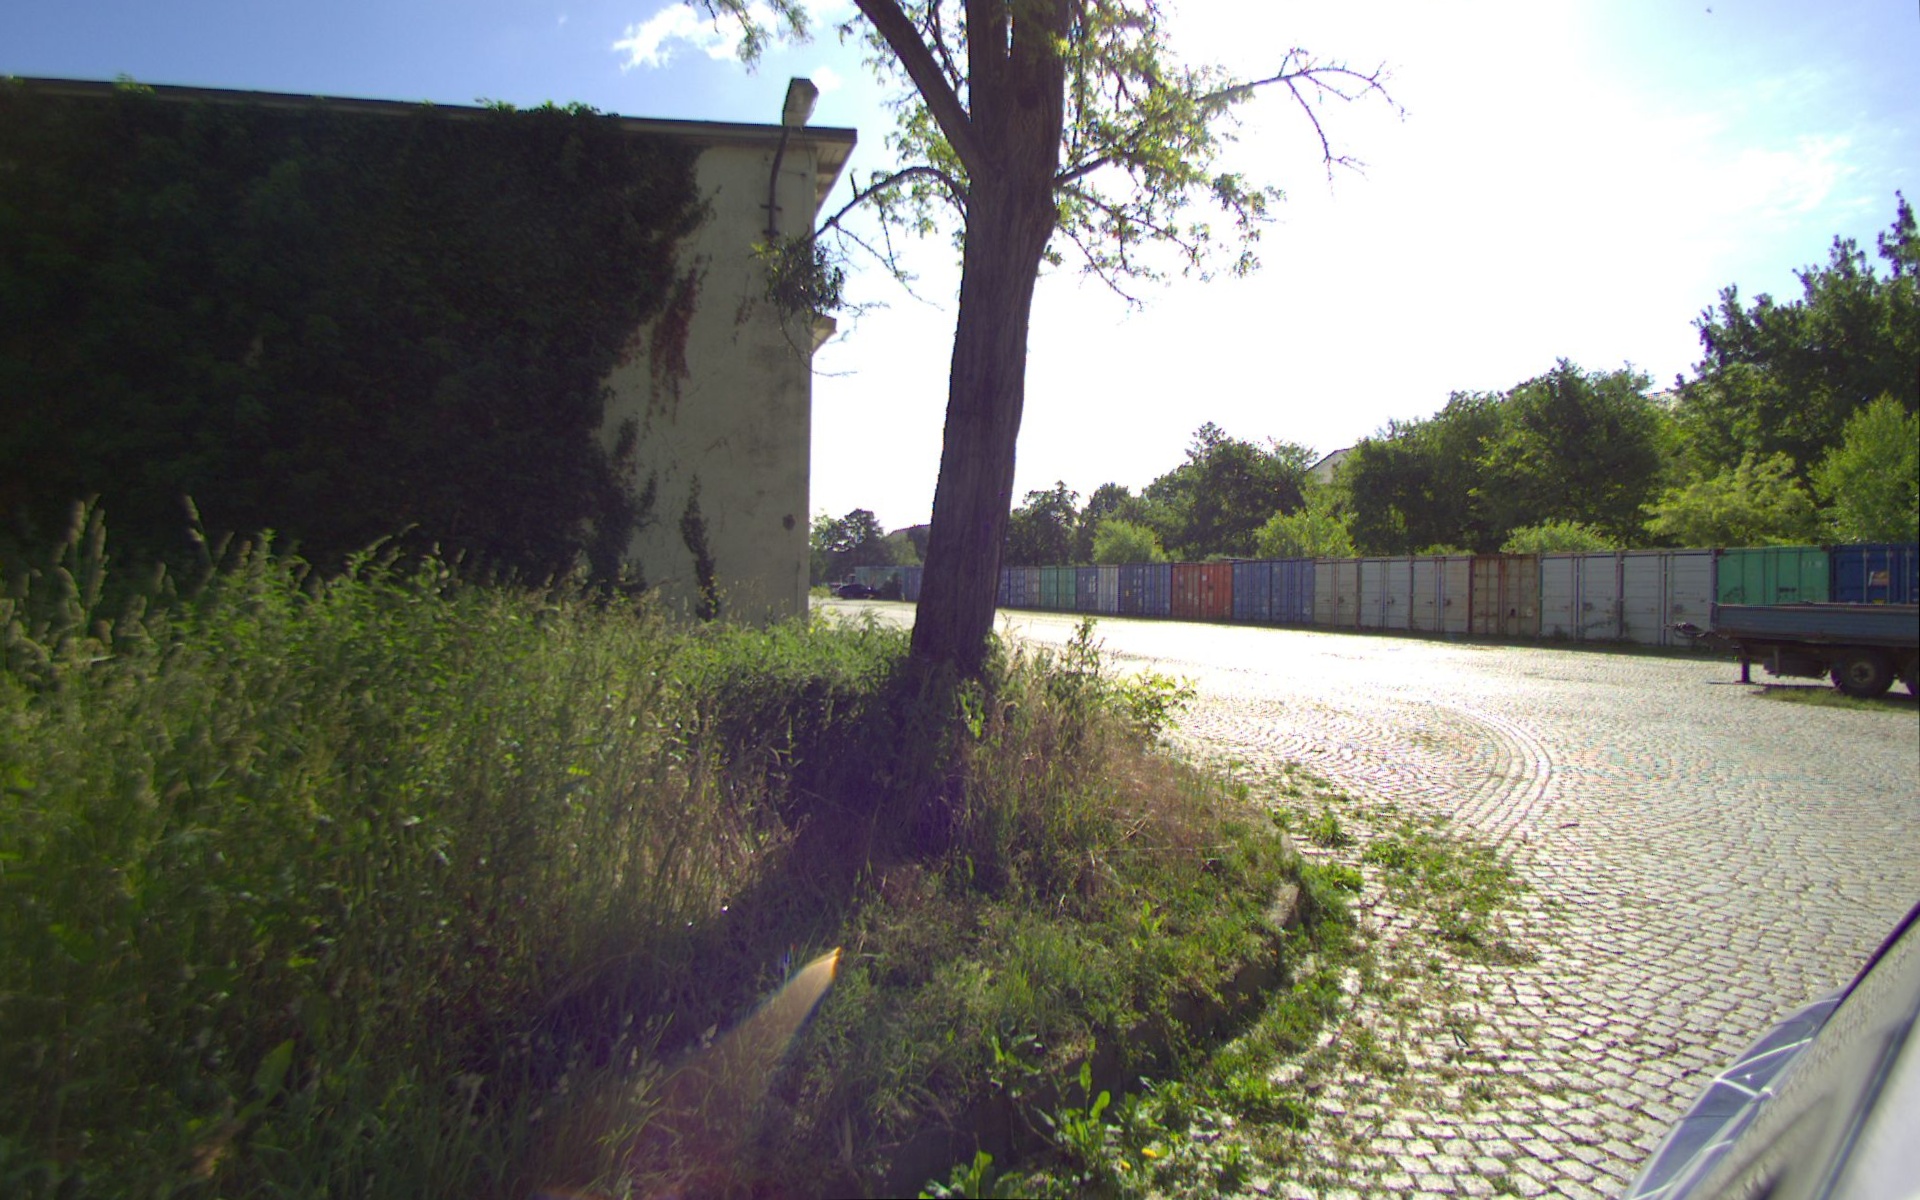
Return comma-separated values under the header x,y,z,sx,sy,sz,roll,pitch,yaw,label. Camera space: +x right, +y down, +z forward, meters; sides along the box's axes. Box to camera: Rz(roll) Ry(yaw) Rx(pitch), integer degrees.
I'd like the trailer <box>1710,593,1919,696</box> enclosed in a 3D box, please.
x,y,z,sx,sy,sz,roll,pitch,yaw,label
15.048,0.662,15.688,2.593,1.432,4.873,0,2,-19,trailer

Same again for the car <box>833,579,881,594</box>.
x,y,z,sx,sy,sz,roll,pitch,yaw,label
-9.456,-1.253,92.757,4.029,1.312,2.004,-2,2,-21,car
